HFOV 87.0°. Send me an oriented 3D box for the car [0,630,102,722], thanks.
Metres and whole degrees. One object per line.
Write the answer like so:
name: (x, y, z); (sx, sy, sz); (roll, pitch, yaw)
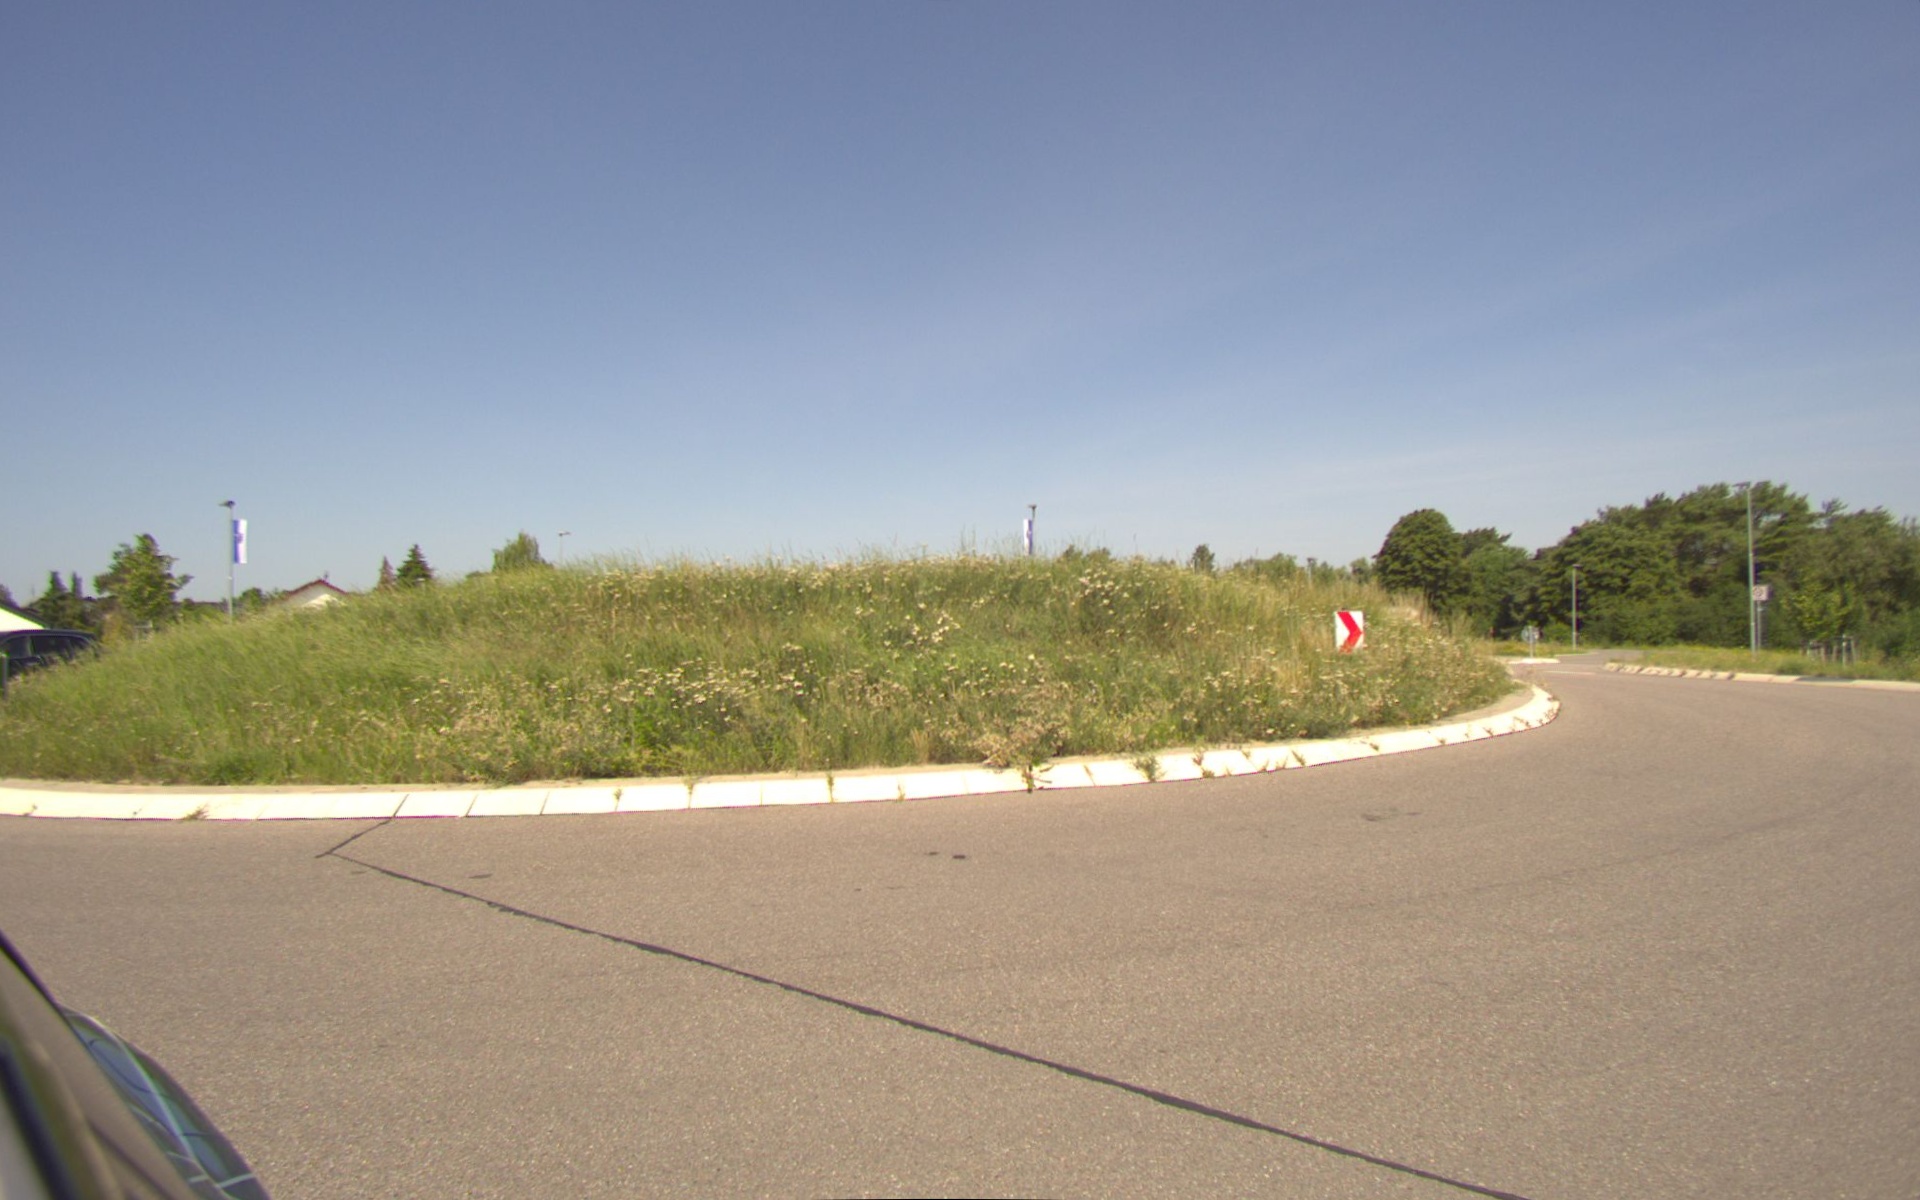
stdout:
car: (-18.517, 1.462, 18.699); (1.757, 1.654, 4.138); (-3, 0, 1)
